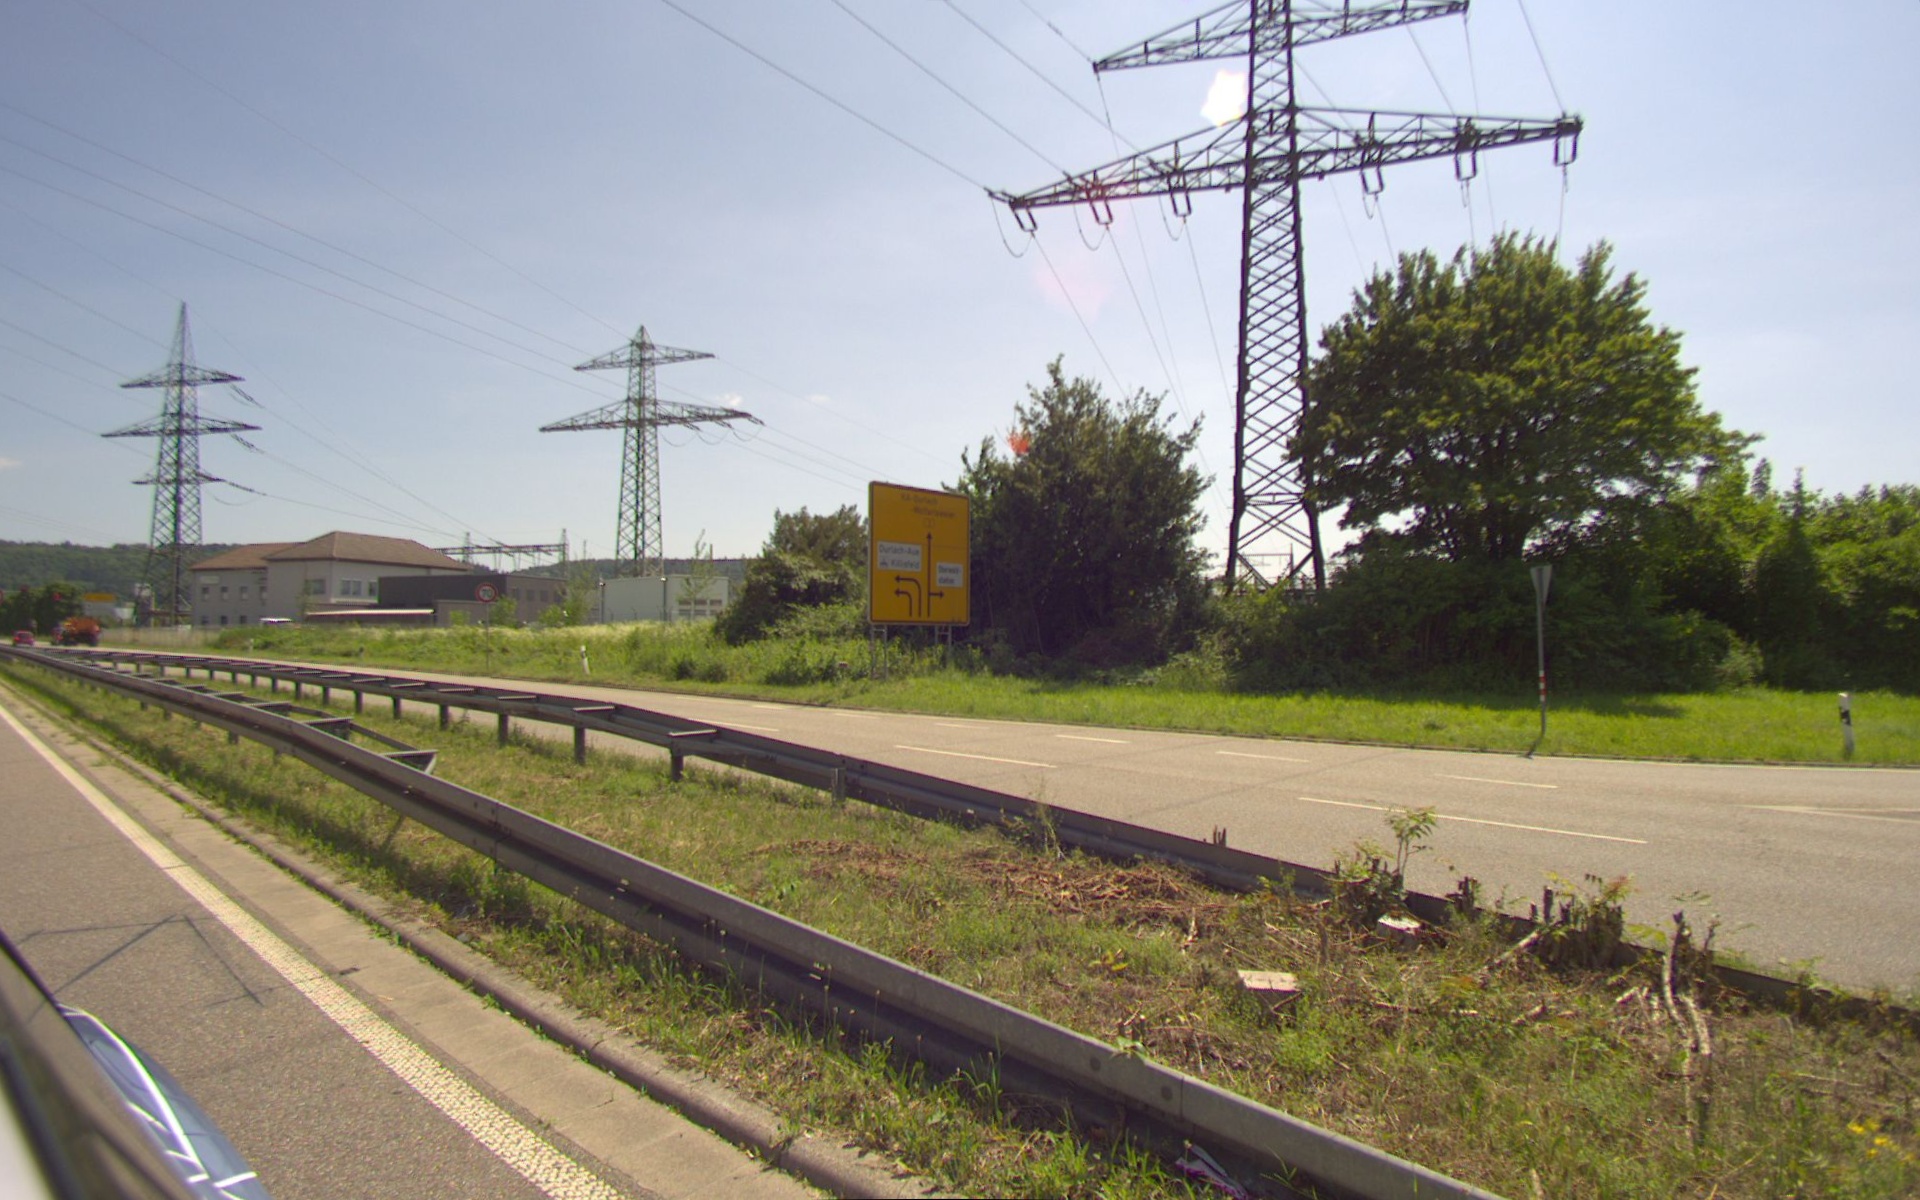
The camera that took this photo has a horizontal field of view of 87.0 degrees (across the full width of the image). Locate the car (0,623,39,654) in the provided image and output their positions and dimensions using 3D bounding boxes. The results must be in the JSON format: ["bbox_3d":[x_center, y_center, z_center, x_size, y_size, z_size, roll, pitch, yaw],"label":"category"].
[{"bbox_3d":[-98.274,4.015,105.686,5.639,3.084,2.572,-2,-3,43],"label":"car"}]

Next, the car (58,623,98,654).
[{"bbox_3d":[-92.544,4.047,106.164,5.639,3.084,2.572,-2,-3,43],"label":"car"}]
